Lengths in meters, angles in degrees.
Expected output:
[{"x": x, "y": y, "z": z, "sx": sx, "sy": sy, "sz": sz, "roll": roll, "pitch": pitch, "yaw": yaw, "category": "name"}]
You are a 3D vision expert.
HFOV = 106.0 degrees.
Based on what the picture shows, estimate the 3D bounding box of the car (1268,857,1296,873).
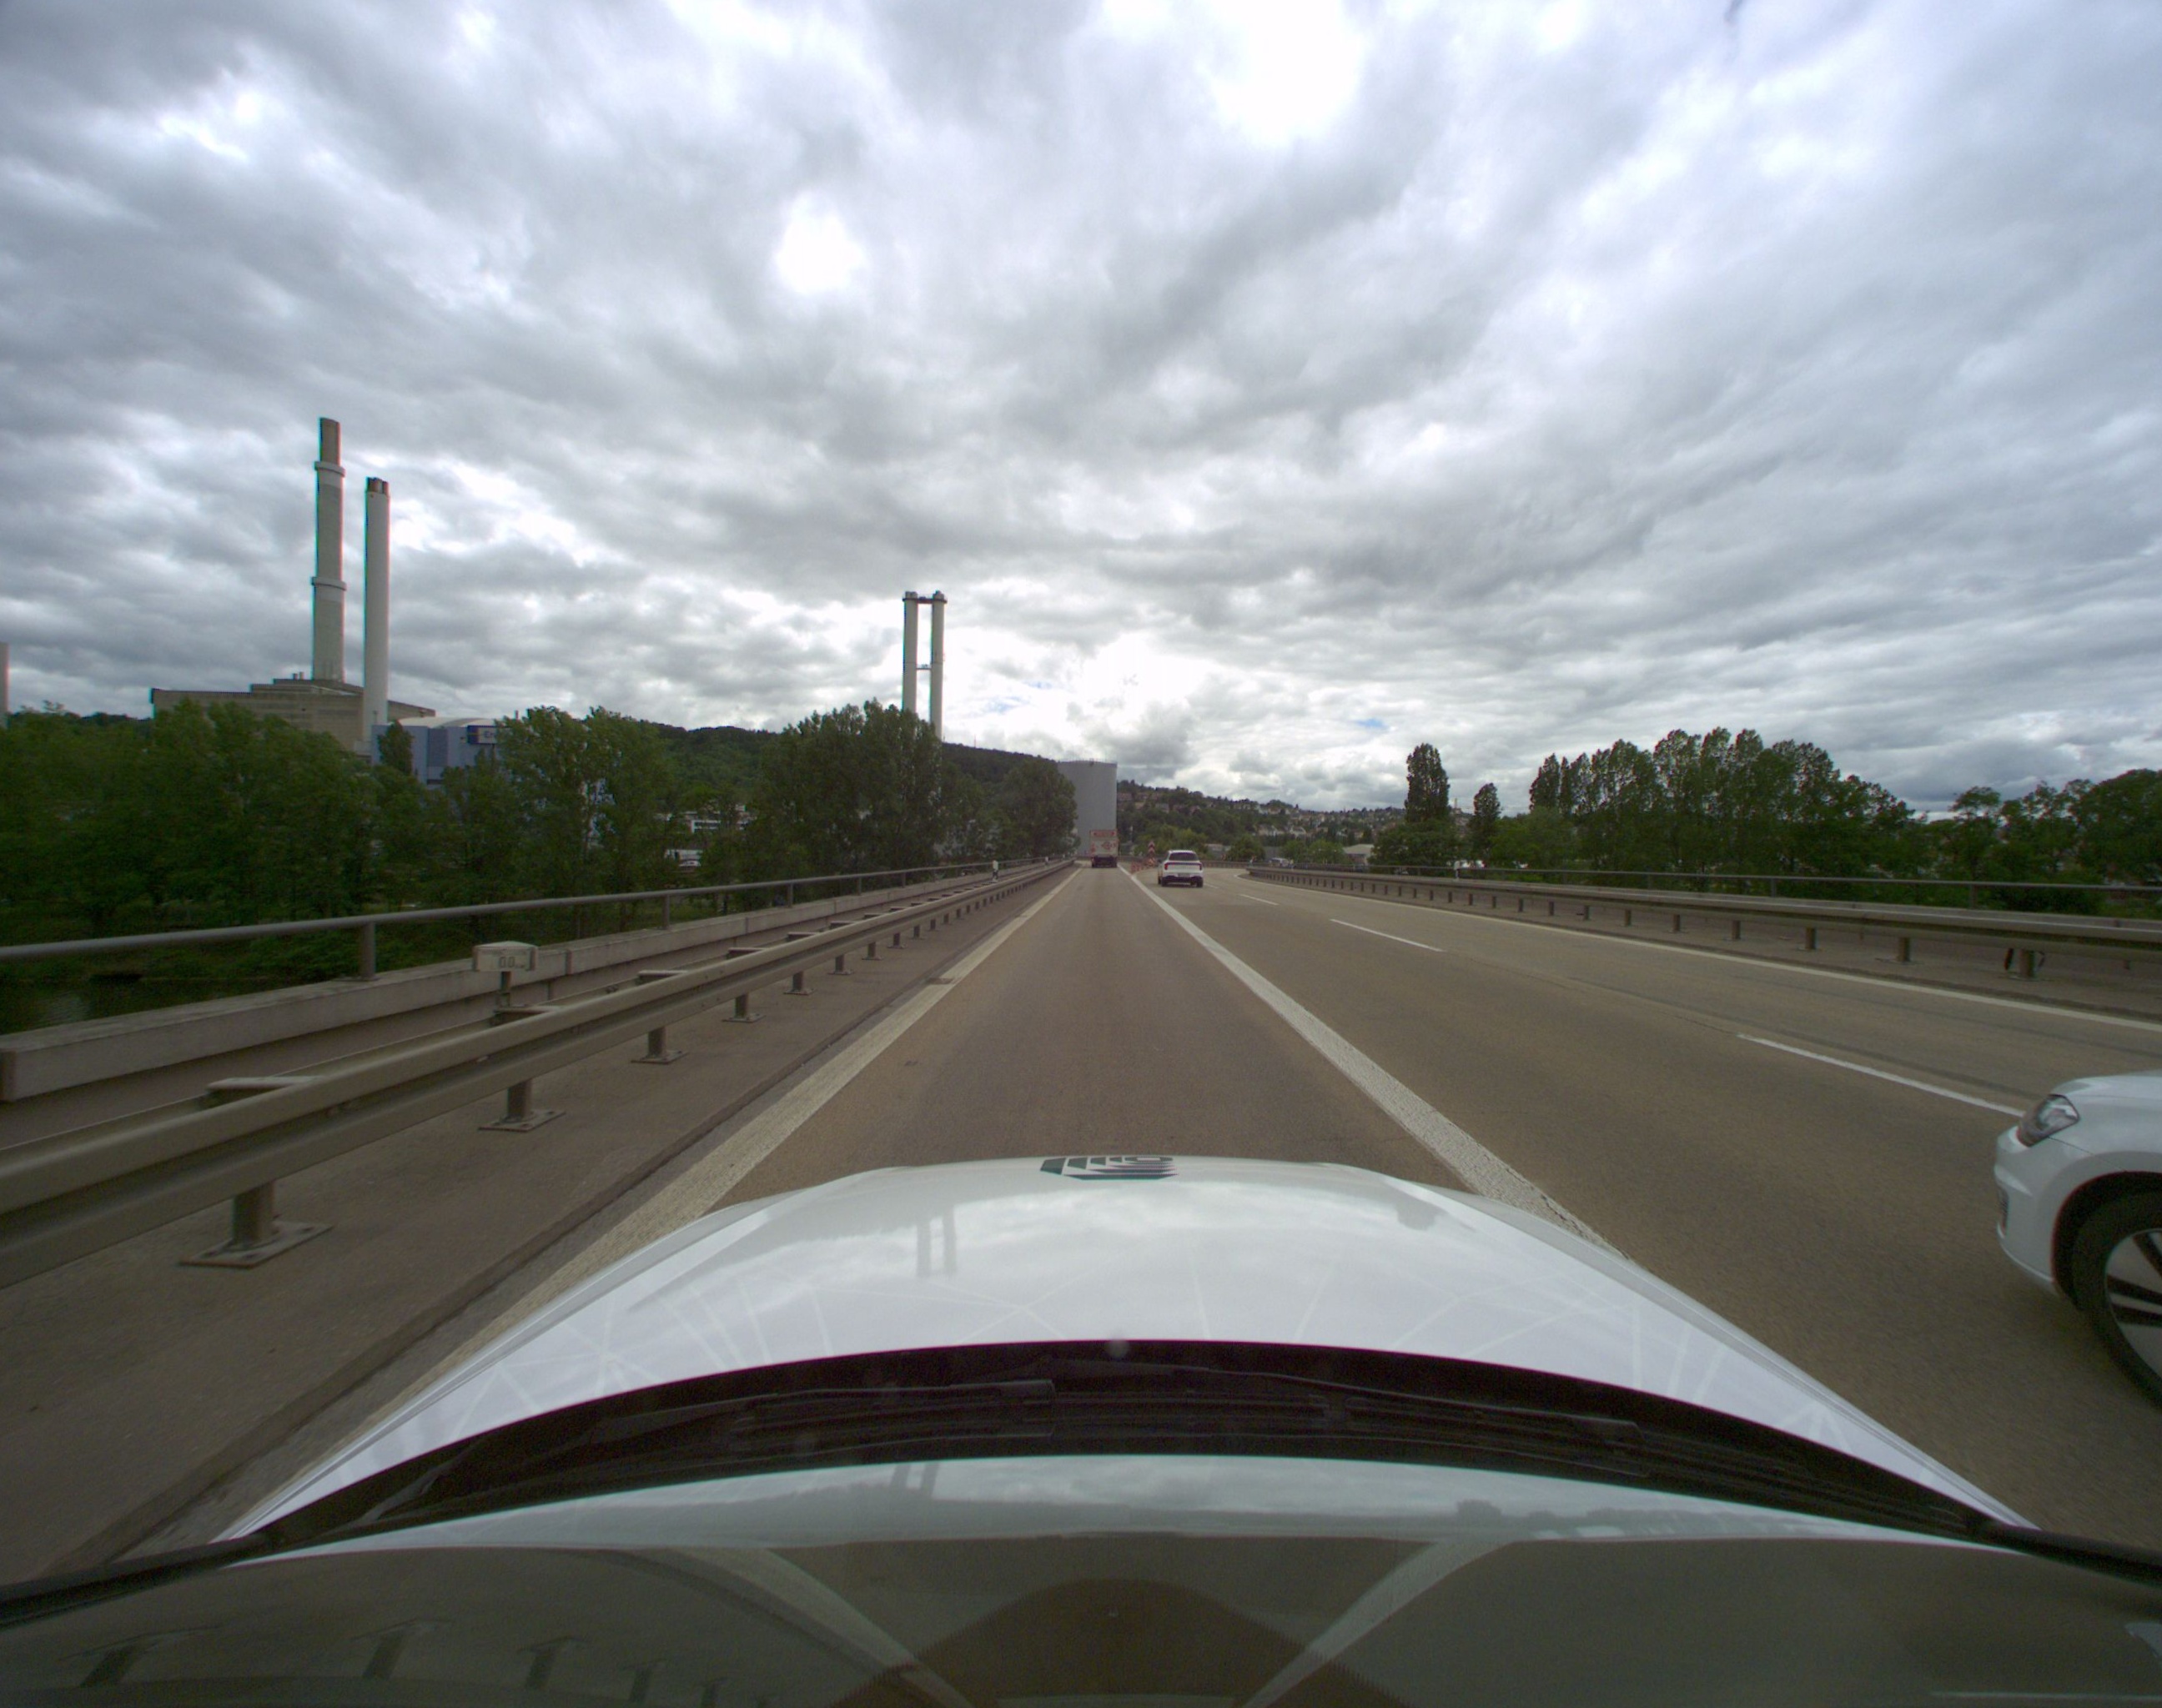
[{"x": 23.487, "y": 1.230, "z": 94.945, "sx": 1.905, "sy": 1.785, "sz": 4.139, "roll": 0, "pitch": 0, "yaw": 33, "category": "car"}]

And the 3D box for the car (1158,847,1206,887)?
[{"x": 4.644, "y": 0.563, "z": 38.018, "sx": 1.916, "sy": 1.785, "sz": 4.116, "roll": 0, "pitch": 0, "yaw": 3, "category": "car"}]

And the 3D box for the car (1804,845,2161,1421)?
[{"x": 3.620, "y": 0.717, "z": 1.070, "sx": 1.748, "sy": 1.451, "sz": 4.072, "roll": -1, "pitch": 0, "yaw": 0, "category": "car"}]

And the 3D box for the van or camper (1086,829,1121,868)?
[{"x": 2.230, "y": -0.492, "z": 78.163, "sx": 3.110, "sy": 3.579, "sz": 8.555, "roll": -1, "pitch": 0, "yaw": 2, "category": "van or camper"}]
